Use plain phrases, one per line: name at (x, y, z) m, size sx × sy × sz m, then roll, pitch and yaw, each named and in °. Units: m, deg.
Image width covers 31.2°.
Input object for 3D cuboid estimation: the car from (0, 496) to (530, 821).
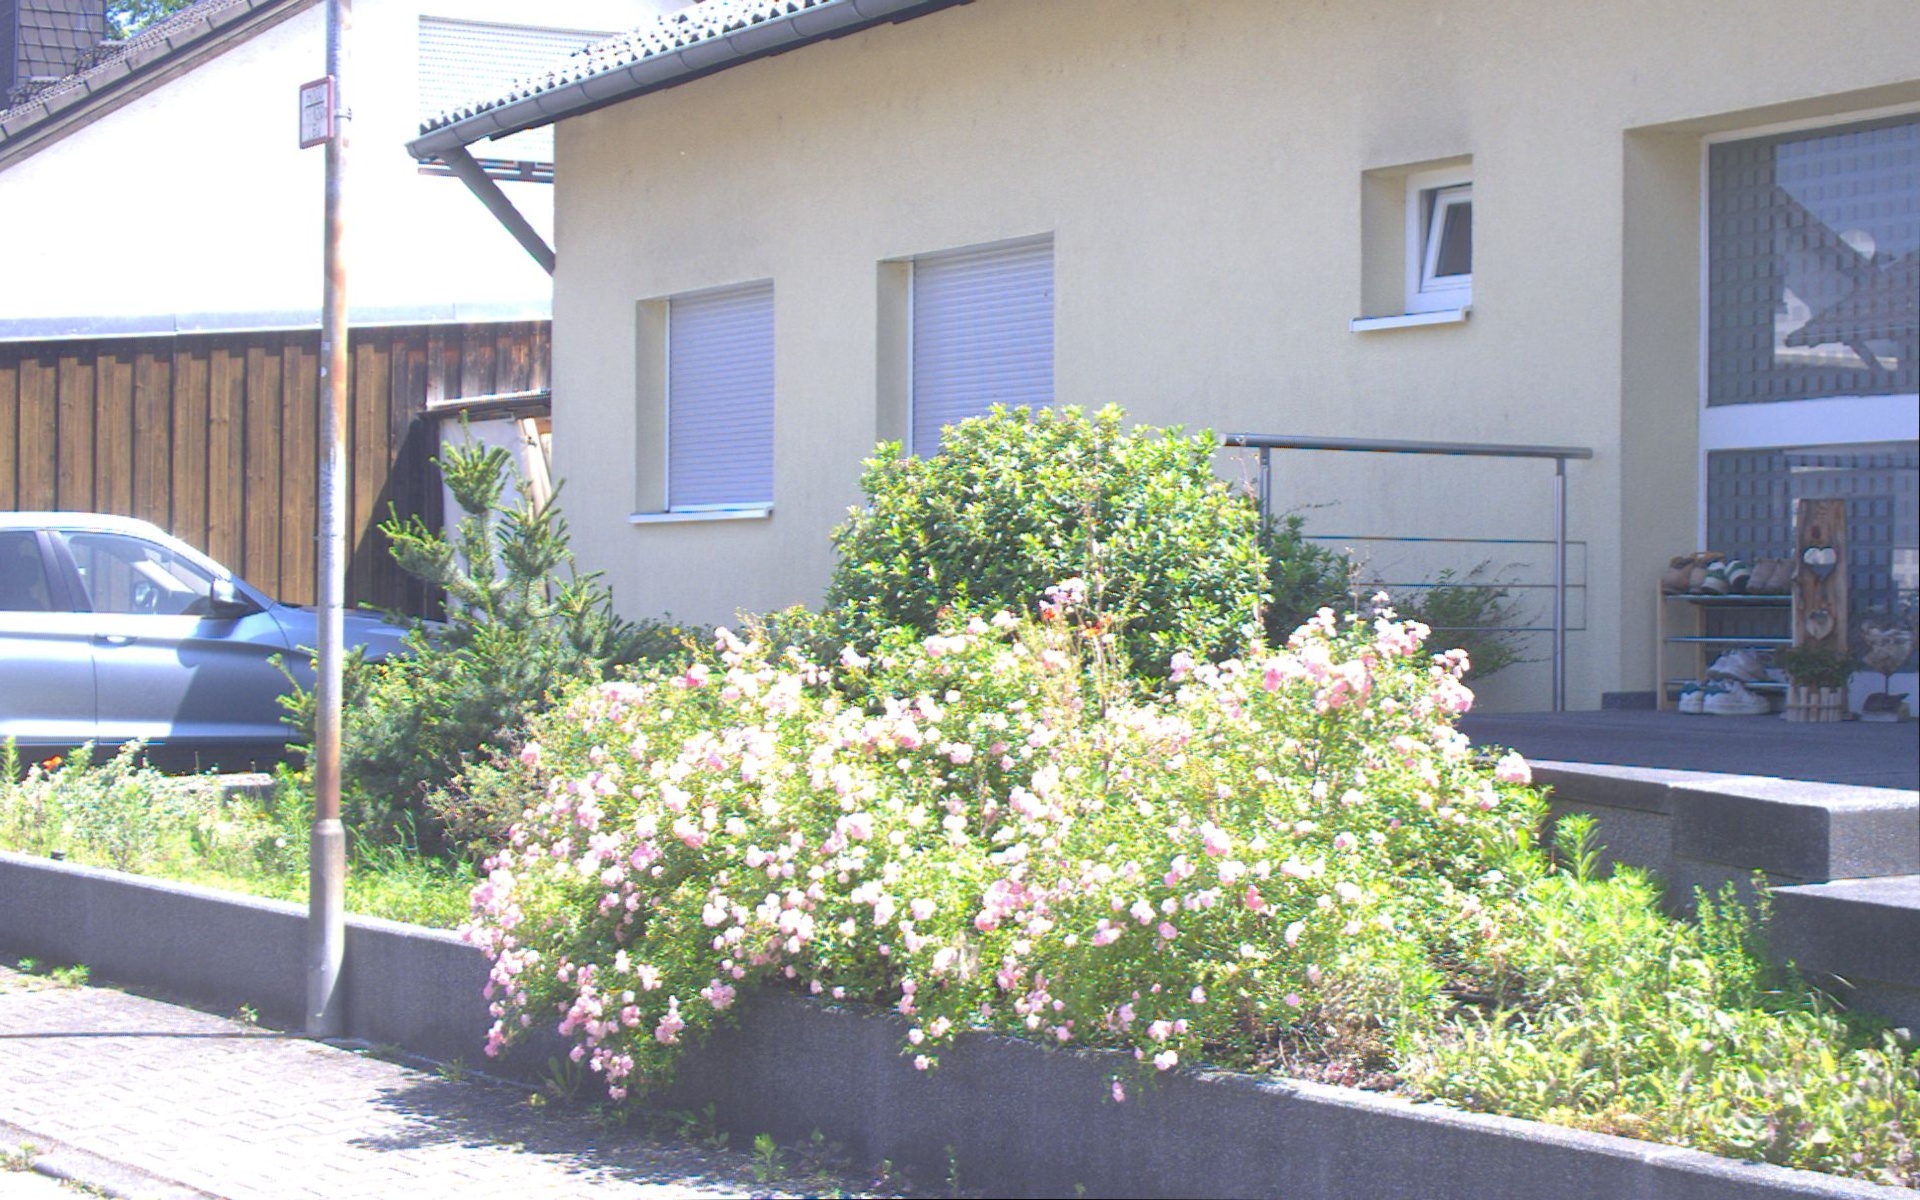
car at (-4.910, 0.297, 19.281) m, size 4.627 × 1.696 × 1.710 m, roll -1°, pitch 1°, yaw -27°
